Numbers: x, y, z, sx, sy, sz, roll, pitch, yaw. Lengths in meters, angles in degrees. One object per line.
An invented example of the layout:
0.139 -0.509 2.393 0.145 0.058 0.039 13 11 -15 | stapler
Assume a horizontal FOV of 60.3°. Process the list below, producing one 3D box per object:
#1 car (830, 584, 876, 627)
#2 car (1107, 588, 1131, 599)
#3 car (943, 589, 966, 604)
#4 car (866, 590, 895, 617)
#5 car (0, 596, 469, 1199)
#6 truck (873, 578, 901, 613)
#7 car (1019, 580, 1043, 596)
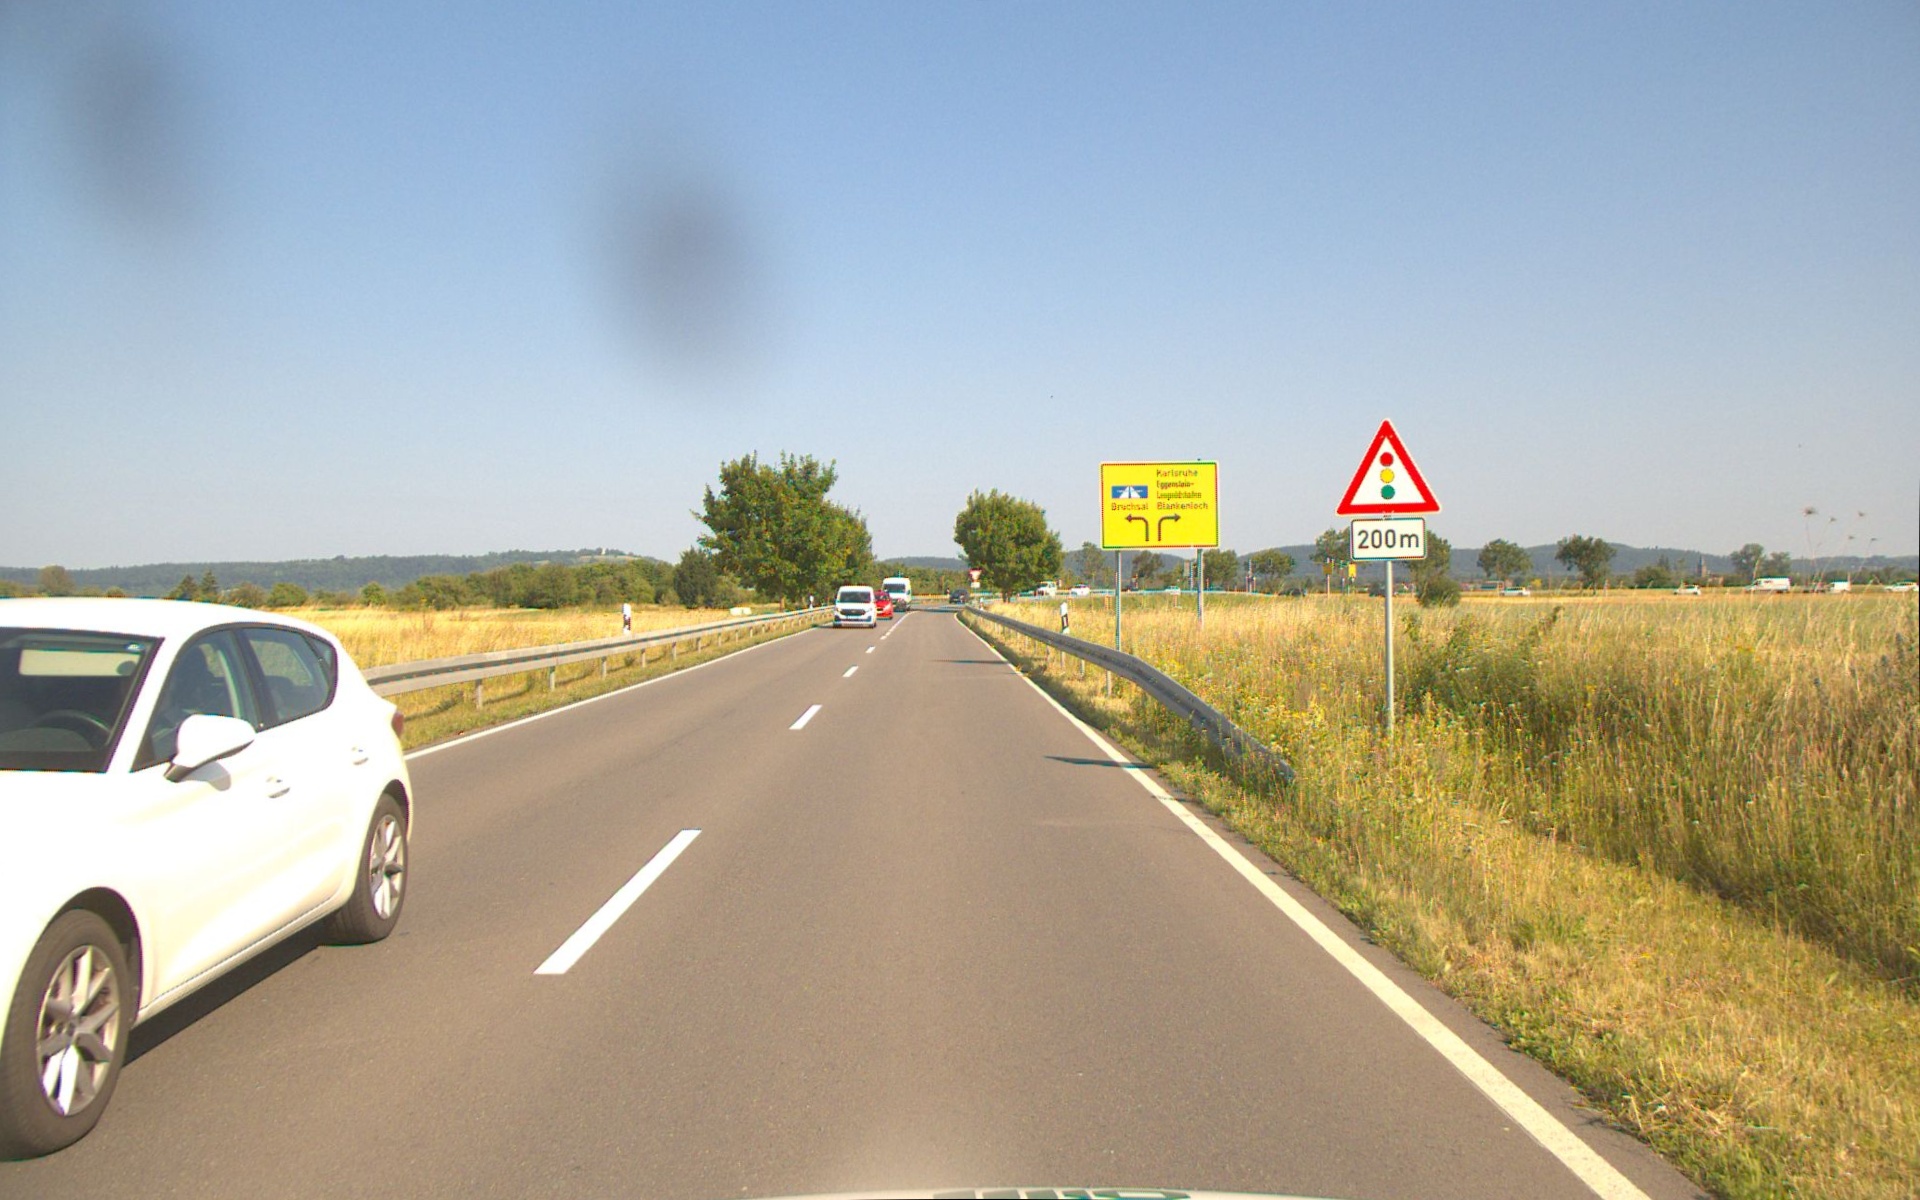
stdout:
-4.661 0.215 72.498 1.799 1.818 4.434 0 0 -1 | car
22.947 -0.935 238.235 1.954 1.559 4.588 1 0 25 | car
-0.545 -0.309 167.901 1.609 1.497 3.810 0 0 10 | car
-4.583 0.186 95.679 1.574 1.514 3.779 0 0 -1 | car
-3.183 0.726 5.764 1.691 1.462 4.515 0 0 -1 | car
-5.488 -0.372 125.316 1.953 2.564 6.242 0 0 -1 | truck
8.786 -1.498 203.803 1.951 1.917 4.595 1 0 15 | car
